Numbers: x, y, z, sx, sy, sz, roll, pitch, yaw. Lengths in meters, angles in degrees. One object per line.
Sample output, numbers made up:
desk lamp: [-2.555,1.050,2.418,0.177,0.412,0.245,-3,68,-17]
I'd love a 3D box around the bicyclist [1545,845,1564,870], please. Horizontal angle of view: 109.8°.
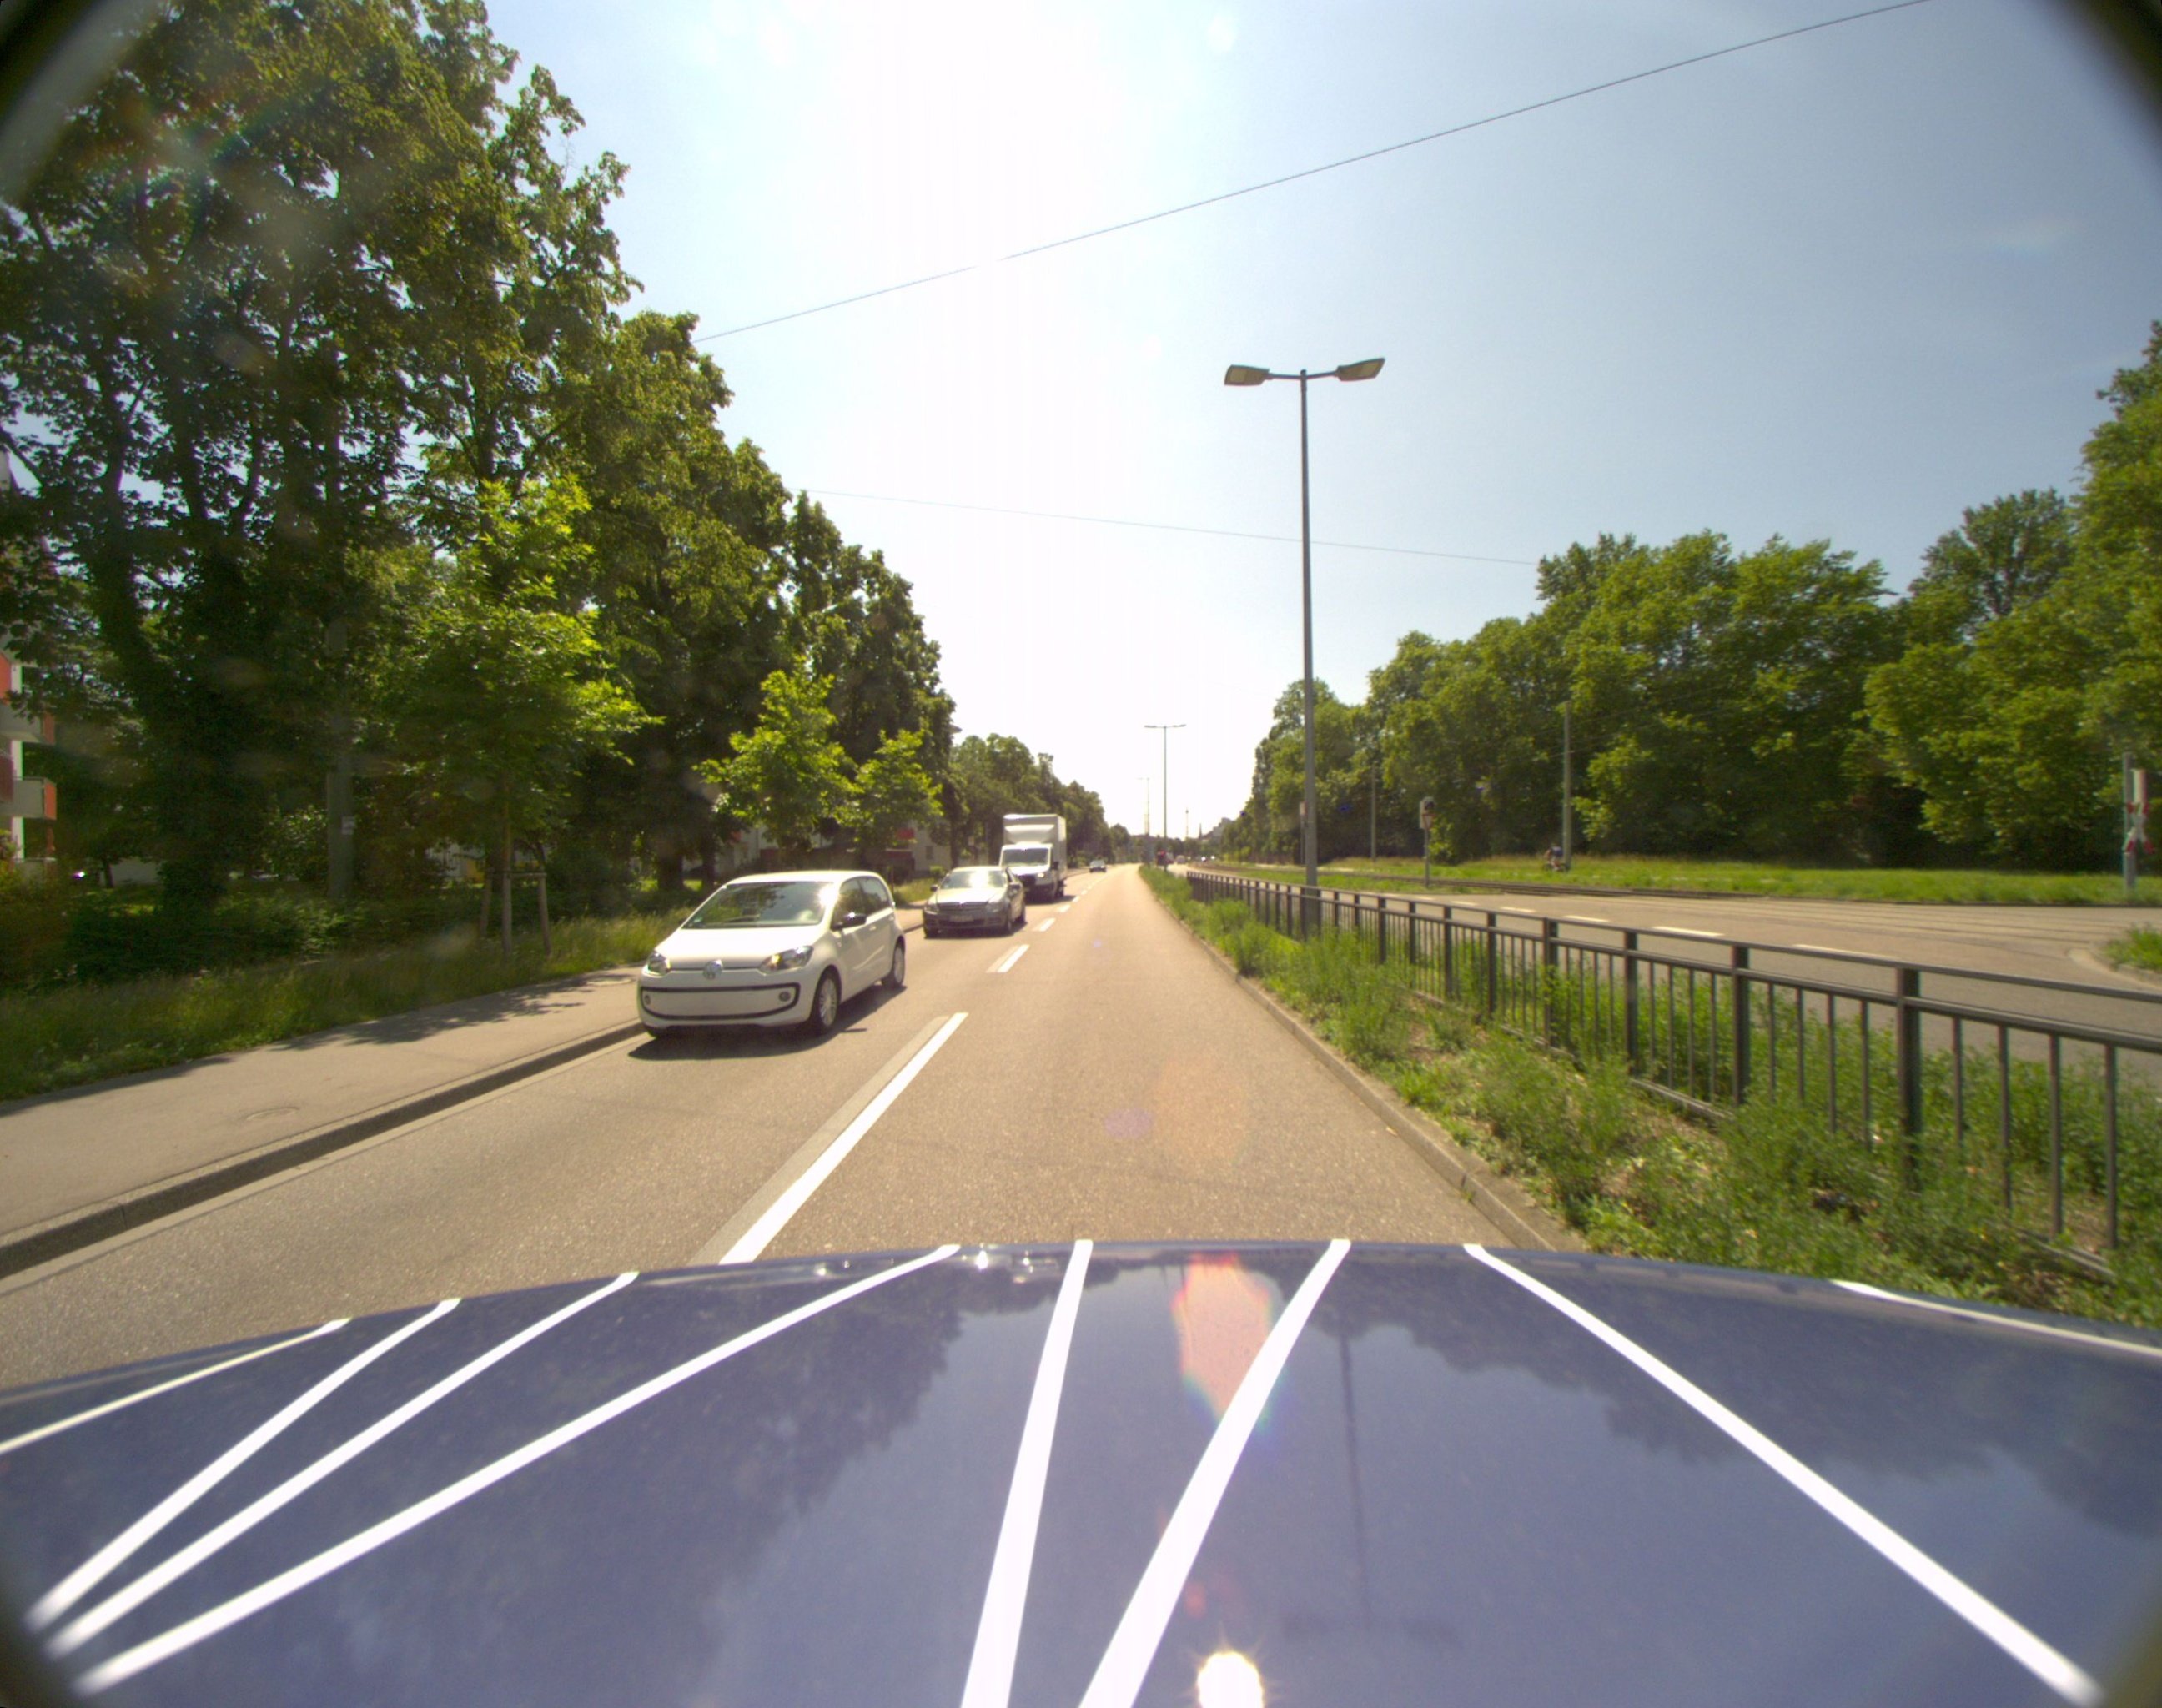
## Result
bicyclist: [25.142,0.177,40.338,0.509,1.328,0.680,-1,1,-5]

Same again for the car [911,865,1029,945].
car: [-2.325,1.039,16.978,1.903,1.451,3.971,-2,0,2]

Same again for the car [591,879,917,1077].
car: [-3.077,1.073,8.099,1.663,1.441,3.855,-2,0,2]

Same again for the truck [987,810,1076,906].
truck: [-1.728,0.131,30.352,2.293,3.259,8.314,-1,0,5]

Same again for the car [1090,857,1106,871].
car: [1.994,1.126,88.547,1.829,1.556,4.000,-1,0,2]

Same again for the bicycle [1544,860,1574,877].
bicycle: [25.349,0.766,40.325,0.509,0.896,1.565,-1,0,-5]

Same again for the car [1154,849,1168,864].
car: [13.671,0.424,130.171,1.998,2.352,5.374,0,0,2]

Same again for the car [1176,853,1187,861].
car: [23.254,0.705,176.428,1.998,2.002,5.031,1,0,2]
